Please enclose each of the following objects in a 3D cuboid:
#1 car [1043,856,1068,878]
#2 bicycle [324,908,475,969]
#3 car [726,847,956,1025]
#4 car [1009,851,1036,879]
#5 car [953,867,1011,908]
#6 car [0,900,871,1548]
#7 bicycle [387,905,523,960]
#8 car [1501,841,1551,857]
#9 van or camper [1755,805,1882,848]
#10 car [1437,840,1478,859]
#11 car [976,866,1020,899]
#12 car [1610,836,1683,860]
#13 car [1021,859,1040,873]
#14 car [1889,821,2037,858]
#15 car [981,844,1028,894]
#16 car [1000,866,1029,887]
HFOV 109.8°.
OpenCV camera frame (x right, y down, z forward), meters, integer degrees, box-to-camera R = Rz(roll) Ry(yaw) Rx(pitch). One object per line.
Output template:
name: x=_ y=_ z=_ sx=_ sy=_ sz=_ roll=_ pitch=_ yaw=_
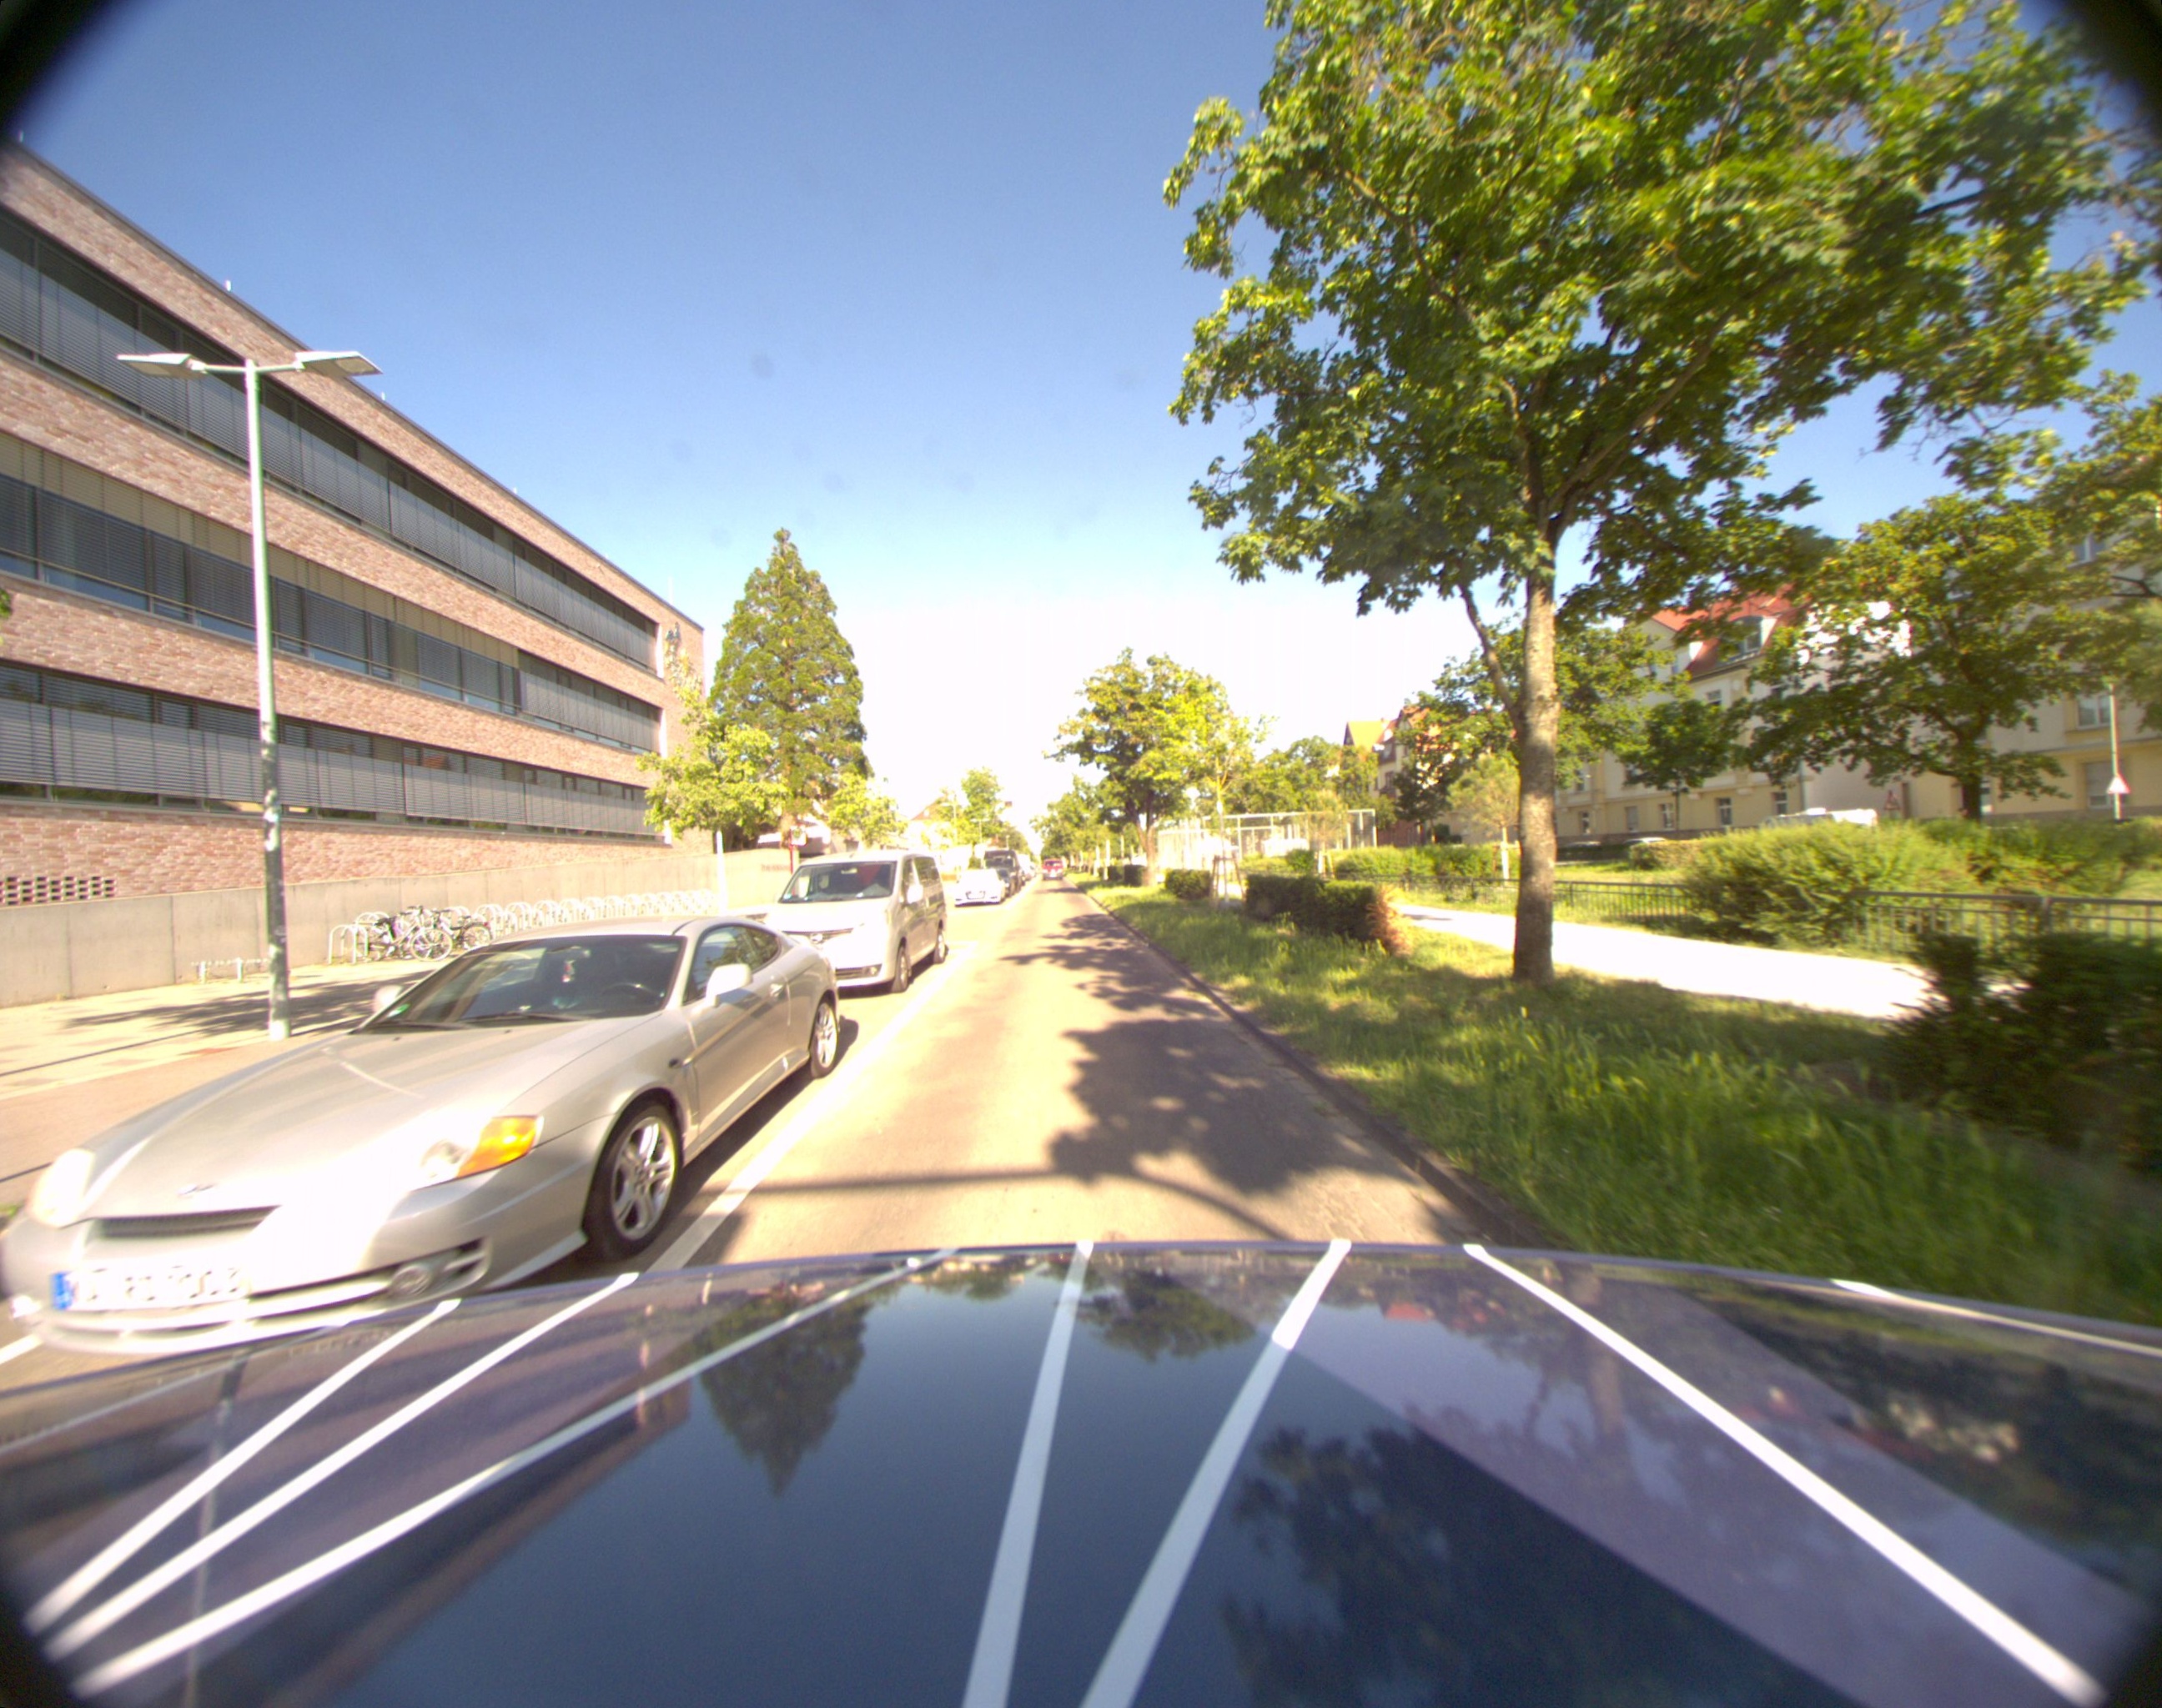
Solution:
car: x=-2.353 y=1.216 z=72.327 sx=2.022 sy=1.867 sz=4.740 roll=-3 pitch=0 yaw=1
bicycle: x=-12.958 y=1.597 z=14.501 sx=2.030 sy=1.057 sz=0.882 roll=0 pitch=0 yaw=-3
car: x=-3.065 y=0.932 z=10.824 sx=1.788 sy=1.899 sz=4.626 roll=-3 pitch=0 yaw=-1
car: x=-5.652 y=1.041 z=74.388 sx=2.196 sy=2.583 sz=6.044 roll=-3 pitch=0 yaw=-1
car: x=-3.960 y=1.304 z=30.855 sx=1.825 sy=1.412 sz=4.039 roll=-3 pitch=0 yaw=-1
car: x=-2.712 y=1.107 z=4.389 sx=1.652 sy=1.324 sz=4.934 roll=-3 pitch=0 yaw=-1
bicycle: x=-12.968 y=1.614 z=15.790 sx=2.085 sy=1.057 sz=0.860 roll=0 pitch=0 yaw=-2
car: x=37.343 y=-0.397 z=63.873 sx=1.690 sy=1.286 sz=4.000 roll=-3 pitch=0 yaw=-1
van or camper: x=38.599 y=-1.396 z=39.946 sx=2.274 sy=2.002 sz=4.373 roll=-3 pitch=0 yaw=-2
car: x=37.064 y=-0.422 z=74.886 sx=1.955 sy=1.783 sz=4.000 roll=-3 pitch=0 yaw=-1
car: x=-3.998 y=1.336 z=37.237 sx=1.715 sy=1.412 sz=3.923 roll=-3 pitch=0 yaw=-1
car: x=37.867 y=-0.380 z=51.012 sx=1.845 sy=1.444 sz=4.000 roll=-3 pitch=0 yaw=-1
car: x=-6.178 y=1.407 z=94.255 sx=2.057 sy=1.588 sz=4.753 roll=-3 pitch=0 yaw=-1
car: x=38.839 y=-0.574 z=33.619 sx=1.845 sy=1.444 sz=4.000 roll=-3 pitch=0 yaw=-1
car: x=-4.369 y=0.819 z=44.257 sx=2.074 sy=2.583 sz=6.202 roll=-3 pitch=0 yaw=-1
car: x=-4.808 y=1.615 z=55.401 sx=1.715 sy=1.412 sz=3.923 roll=-3 pitch=0 yaw=-1
